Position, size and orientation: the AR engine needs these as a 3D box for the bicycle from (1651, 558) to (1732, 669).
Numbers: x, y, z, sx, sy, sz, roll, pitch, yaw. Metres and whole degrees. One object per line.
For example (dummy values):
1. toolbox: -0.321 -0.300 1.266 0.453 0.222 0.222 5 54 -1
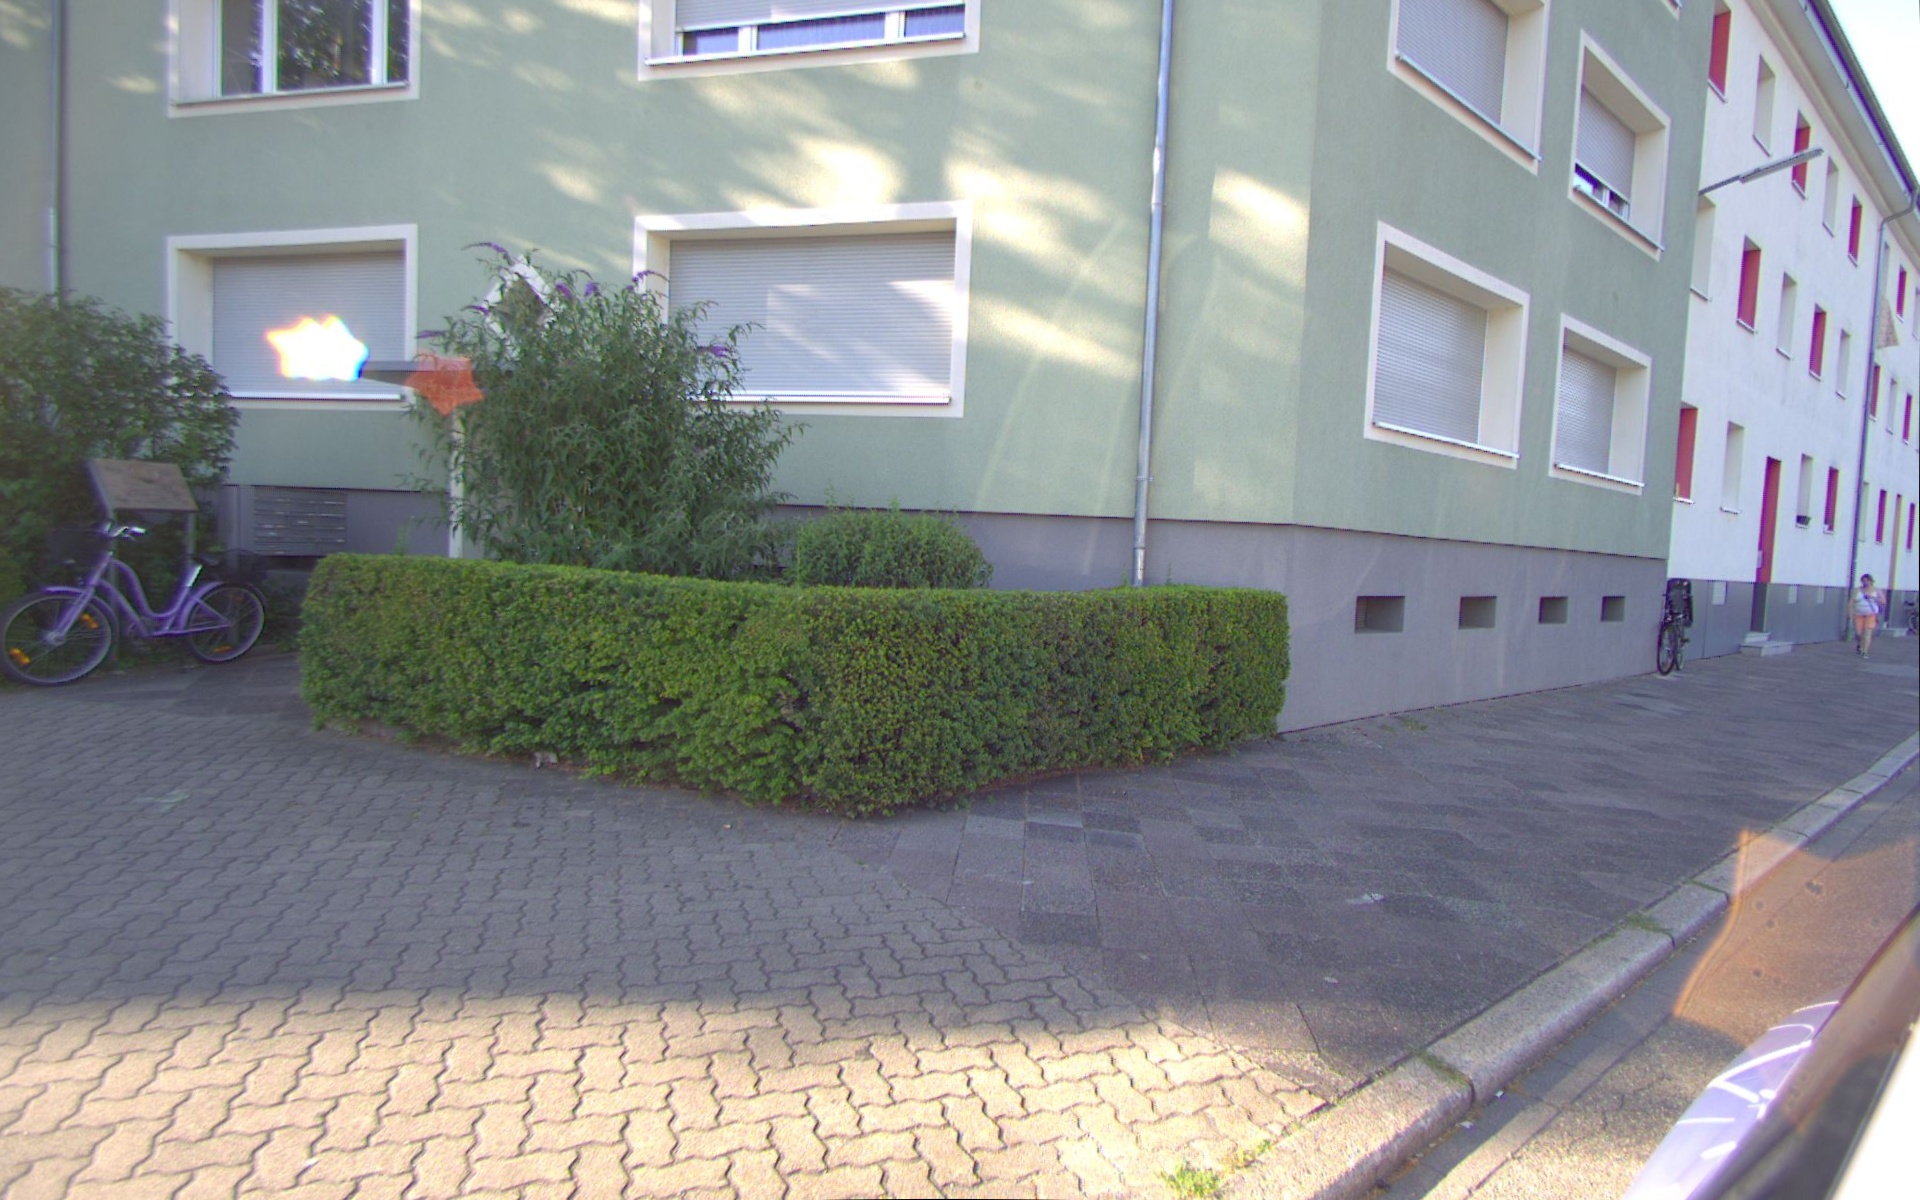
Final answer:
1. bicycle: 10.129 0.159 13.986 1.843 1.429 0.517 -1 4 -44

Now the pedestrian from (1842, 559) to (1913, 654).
1. pedestrian: 17.639 0.103 19.452 0.933 1.727 0.787 0 4 -41

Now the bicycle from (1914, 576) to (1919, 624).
1. bicycle: 29.428 0.010 30.734 1.843 1.429 0.517 -1 4 -44

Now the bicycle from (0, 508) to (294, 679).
1. bicycle: -5.914 -0.086 7.285 0.515 1.069 1.920 3 3 22
